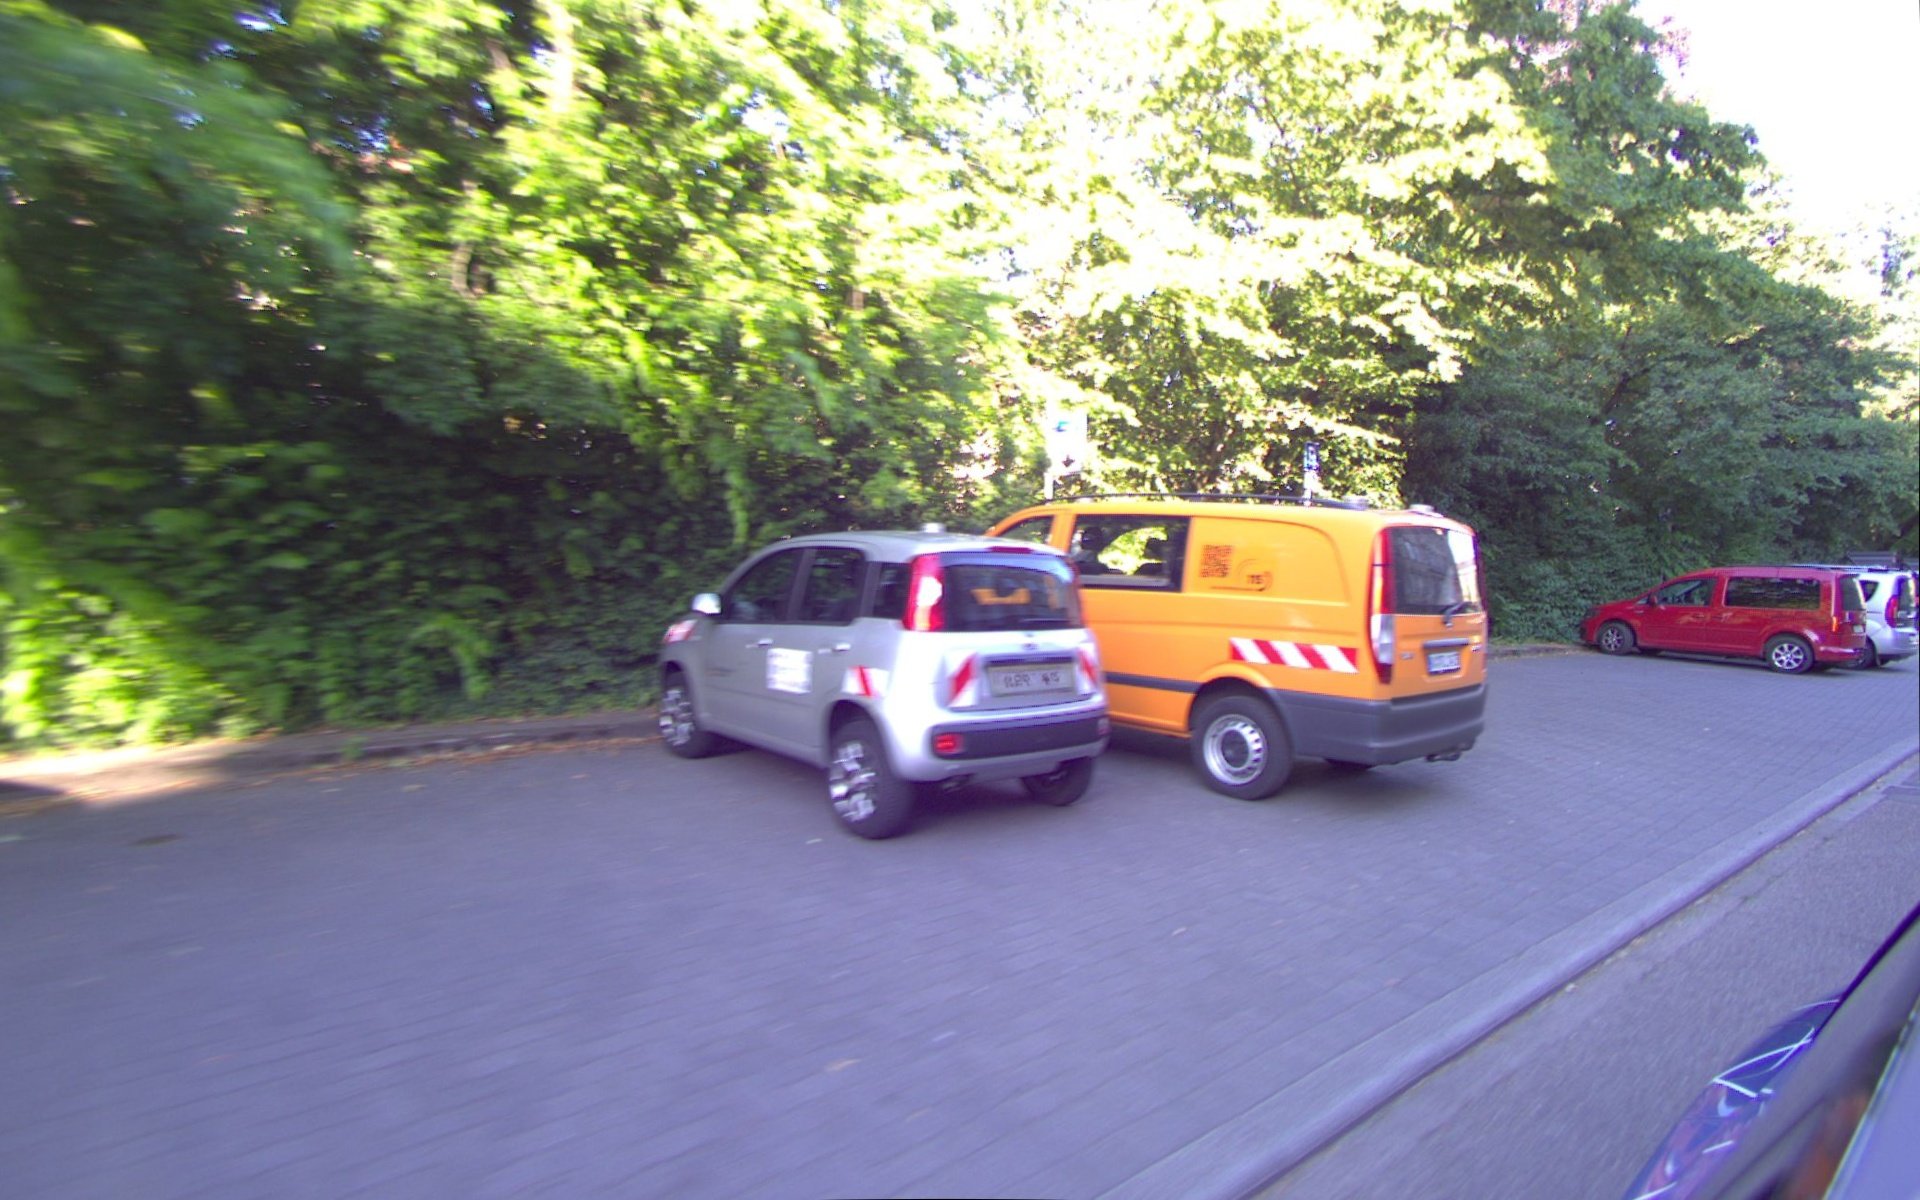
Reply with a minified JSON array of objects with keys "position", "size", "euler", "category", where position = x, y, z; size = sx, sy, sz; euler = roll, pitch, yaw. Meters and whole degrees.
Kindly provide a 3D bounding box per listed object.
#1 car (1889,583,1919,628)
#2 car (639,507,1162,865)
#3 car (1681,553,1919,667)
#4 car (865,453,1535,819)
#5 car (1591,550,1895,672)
[{"position":[33.613,0.259,33.126],"size":[1.679,1.484,4.447],"euler":[0,2,-36],"category":"car"},{"position":[-0.602,0.277,6.502],"size":[1.649,1.651,3.406],"euler":[0,4,-39],"category":"car"},{"position":[16.596,0.110,19.805],"size":[1.750,1.906,3.615],"euler":[0,4,-35],"category":"car"},{"position":[1.539,0.024,8.043],"size":[2.046,2.021,4.804],"euler":[0,4,-43],"category":"car"},{"position":[14.266,0.096,18.665],"size":[1.883,1.885,3.988],"euler":[0,4,-34],"category":"car"}]
